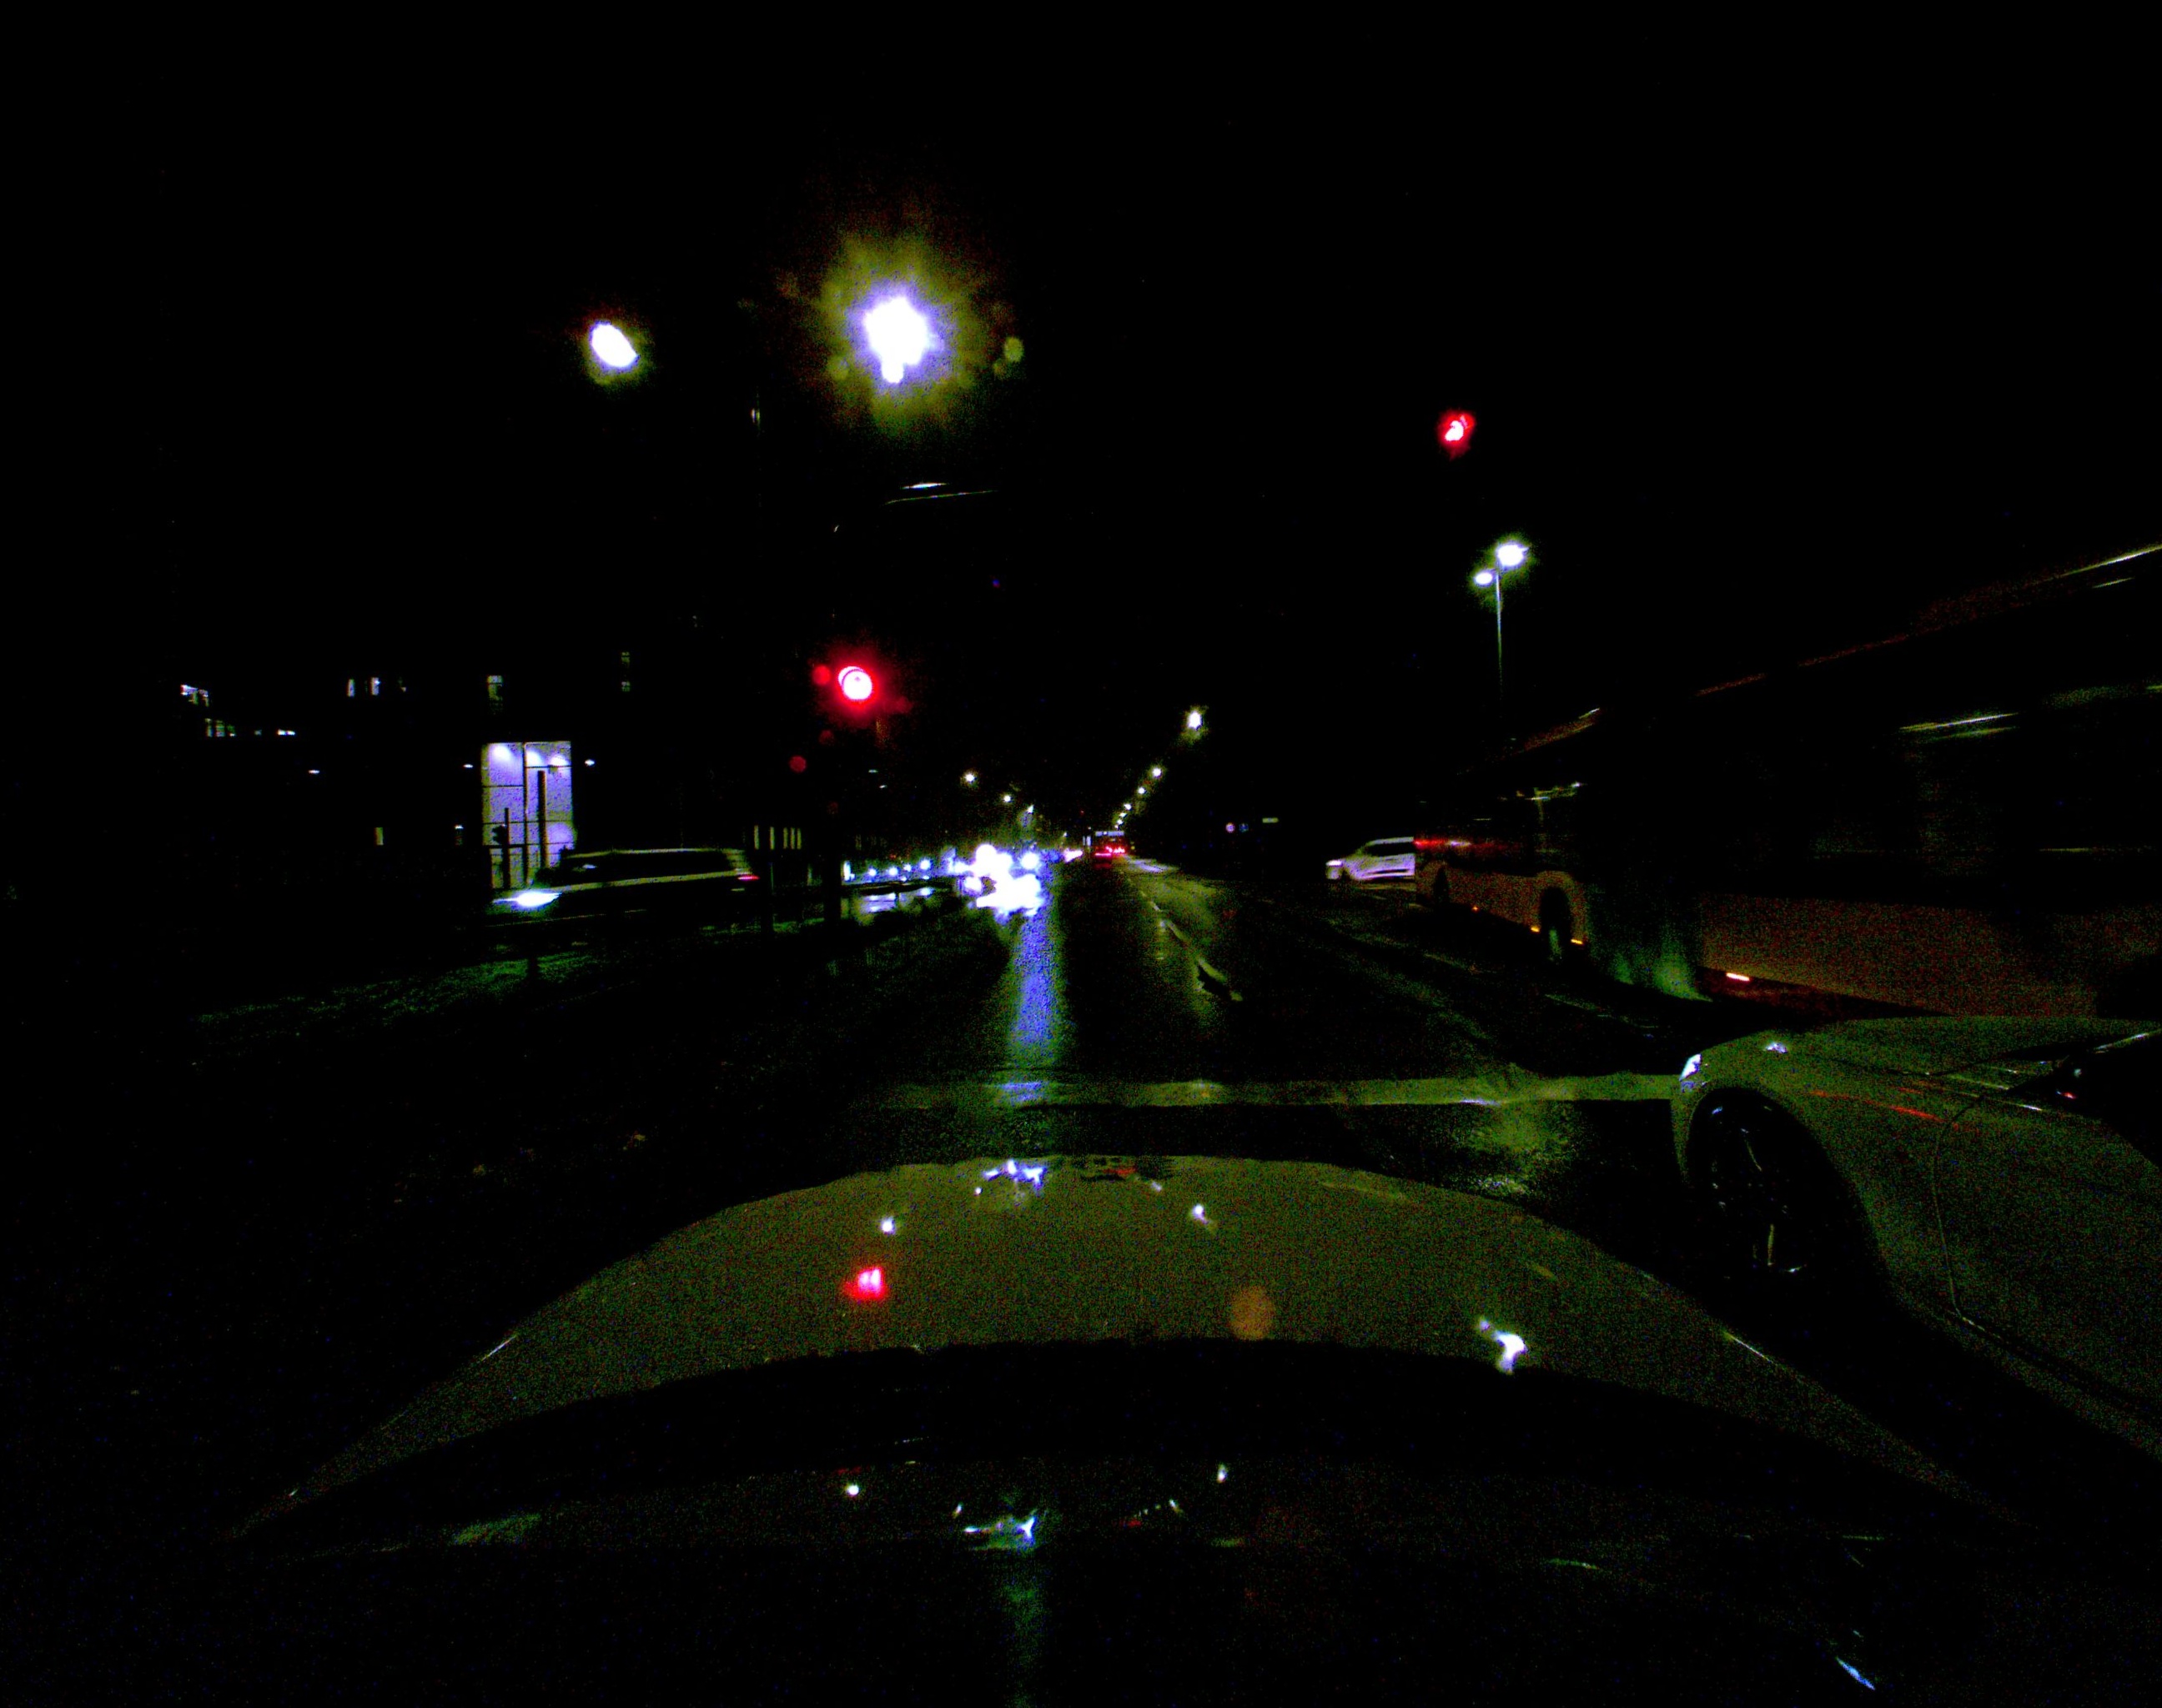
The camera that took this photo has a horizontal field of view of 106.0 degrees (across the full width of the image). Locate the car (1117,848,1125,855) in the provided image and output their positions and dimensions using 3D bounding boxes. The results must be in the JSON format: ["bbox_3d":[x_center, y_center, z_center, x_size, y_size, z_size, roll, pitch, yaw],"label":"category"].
[{"bbox_3d":[10.732,-0.659,219.940,1.986,1.759,4.001,0,-1,2],"label":"car"}]

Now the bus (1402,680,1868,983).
[{"bbox_3d":[7.713,-0.247,13.458,2.751,3.123,9.793,0,0,11],"label":"bus"}]

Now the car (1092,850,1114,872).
[{"bbox_3d":[2.226,0.702,82.369,2.127,2.145,4.928,0,-1,1],"label":"car"}]

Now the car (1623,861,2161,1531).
[{"bbox_3d":[3.122,0.719,1.311,1.710,1.404,4.351,0,-1,2],"label":"car"}]

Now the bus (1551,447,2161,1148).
[{"bbox_3d":[6.232,-0.261,4.047,2.756,3.123,9.773,0,0,4],"label":"bus"}]

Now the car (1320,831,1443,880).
[{"bbox_3d":[12.181,0.072,33.084,4.571,1.874,1.806,-1,-1,23],"label":"car"}]

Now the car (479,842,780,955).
[{"bbox_3d":[-9.197,0.784,17.115,1.974,1.984,5.143,-2,0,35],"label":"car"}]
